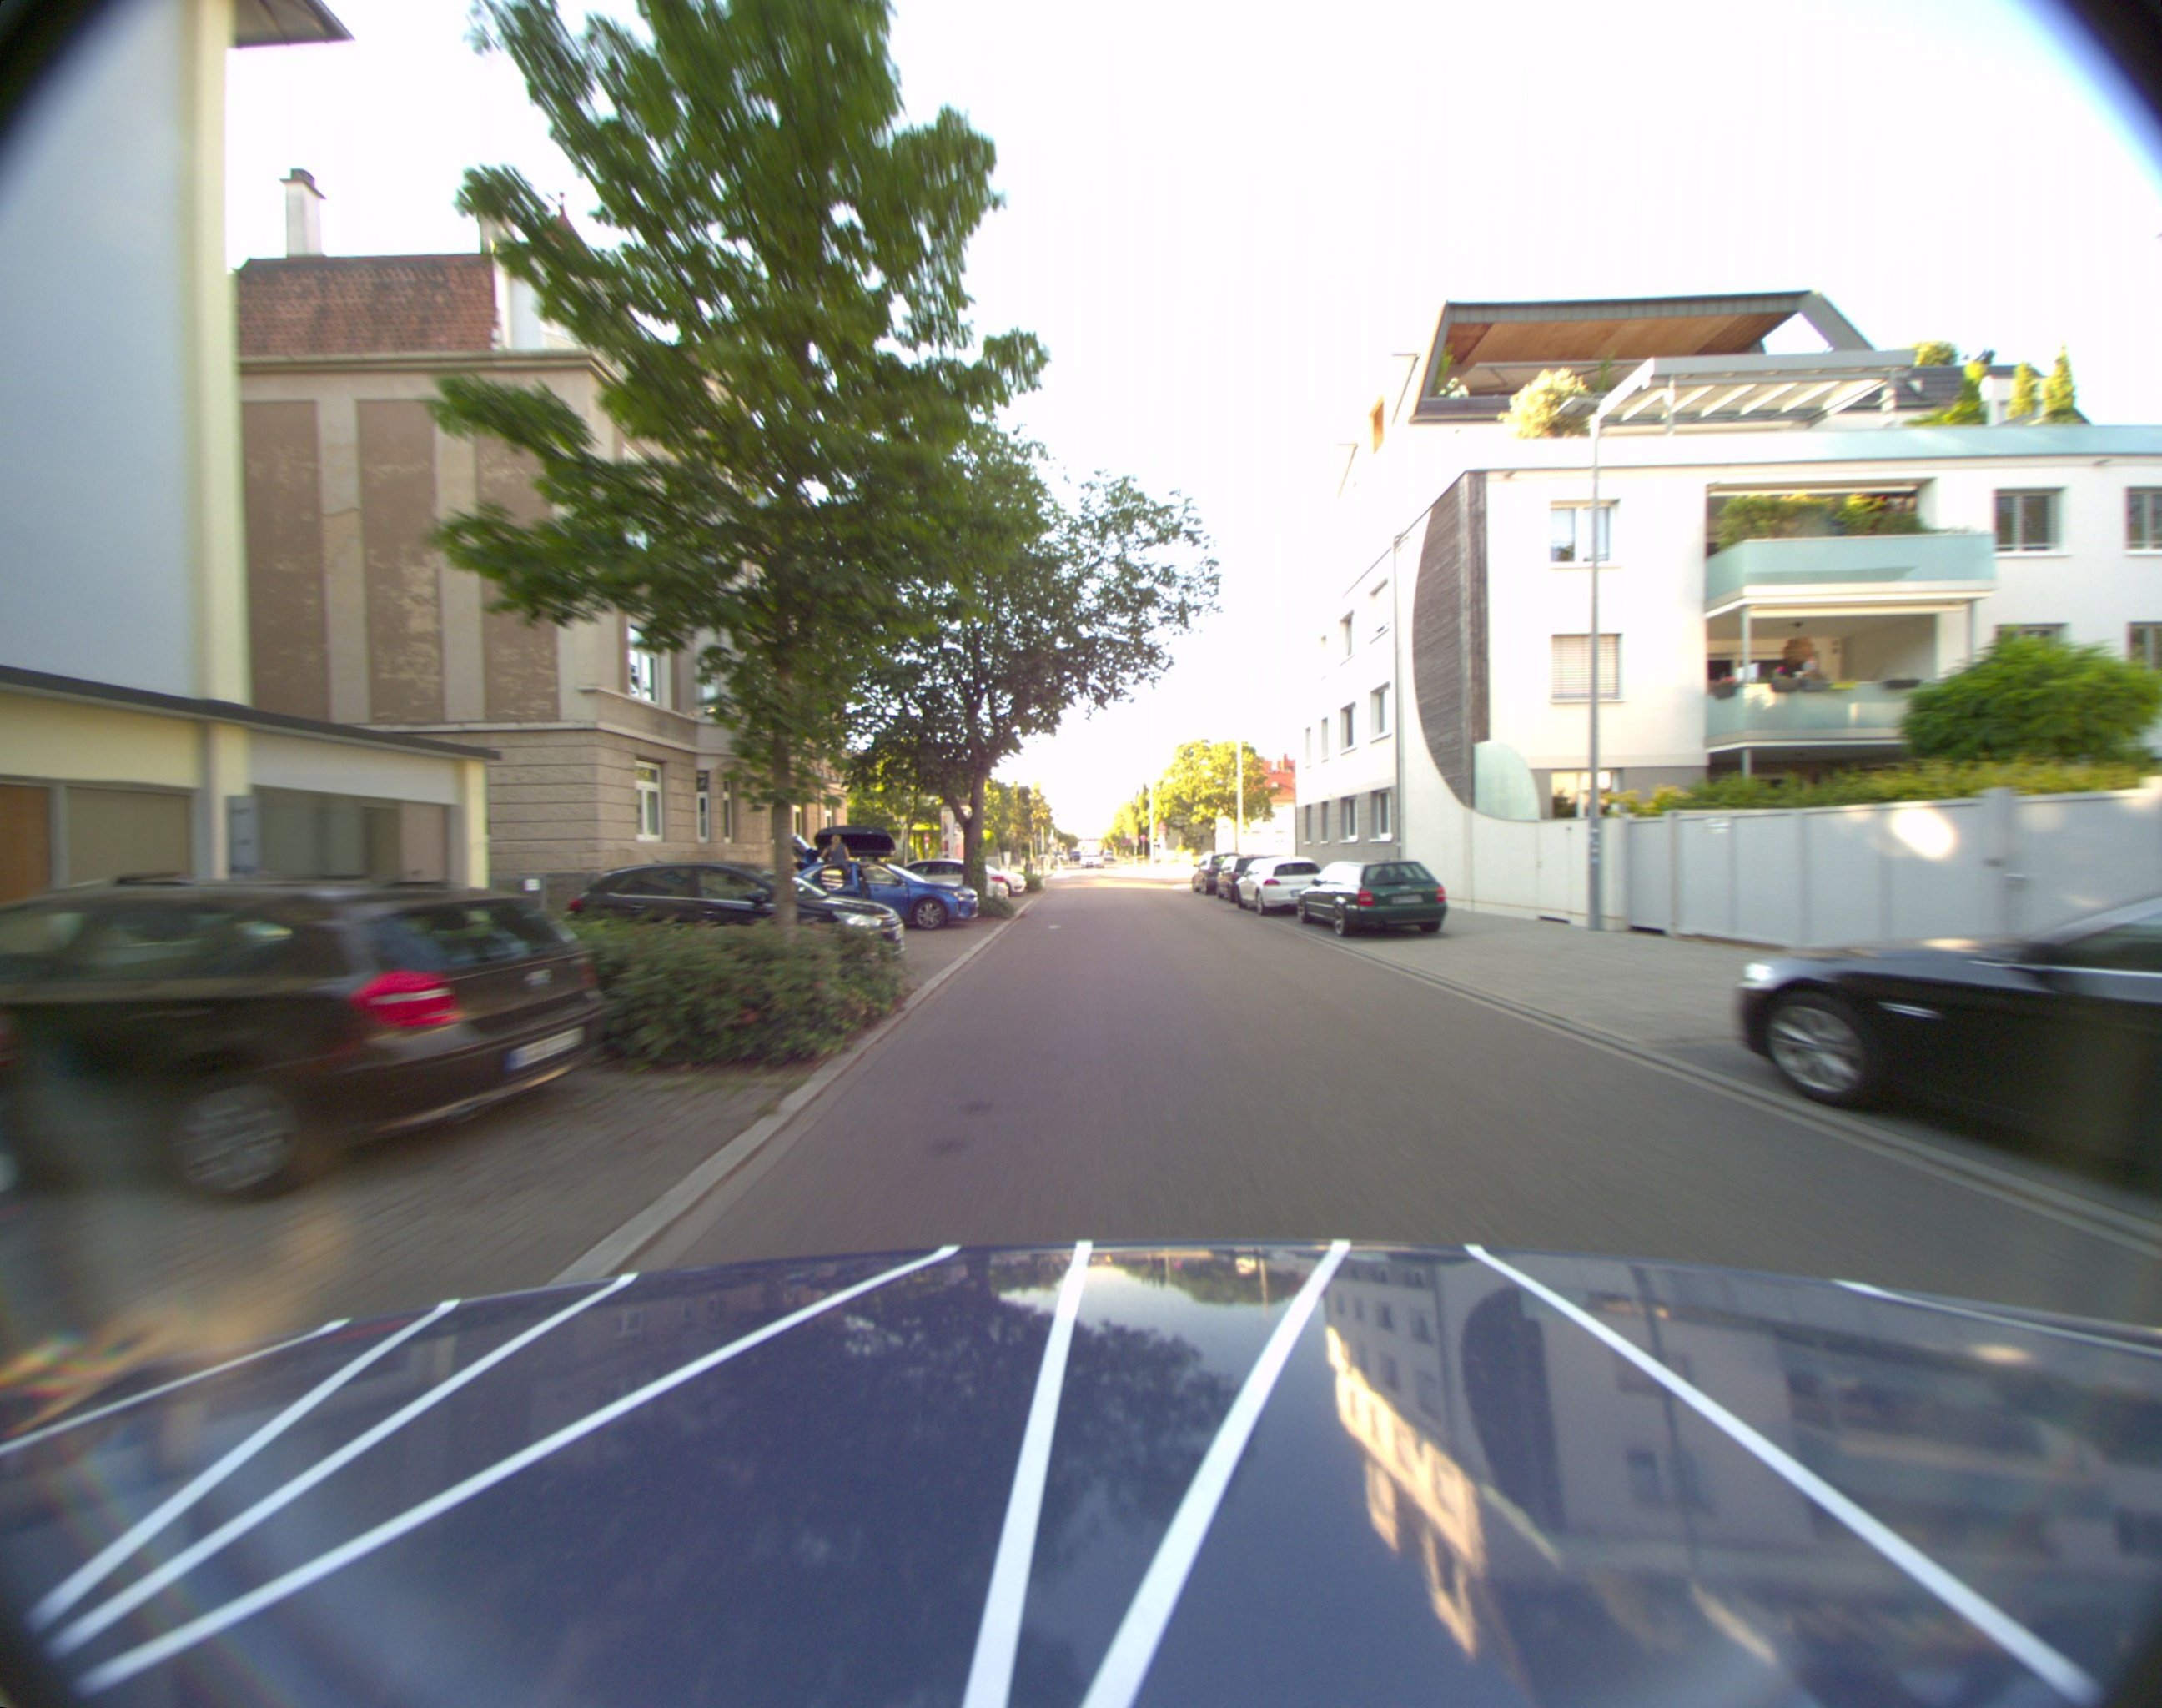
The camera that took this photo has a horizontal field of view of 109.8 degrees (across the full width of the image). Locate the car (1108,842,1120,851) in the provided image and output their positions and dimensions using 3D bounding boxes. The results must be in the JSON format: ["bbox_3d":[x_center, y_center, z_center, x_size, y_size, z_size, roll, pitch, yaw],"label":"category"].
[{"bbox_3d":[6.065,-1.437,138.476,1.970,1.604,4.246,-1,1,0],"label":"car"}]

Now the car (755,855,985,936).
[{"bbox_3d":[-4.511,0.864,16.764,4.538,1.631,1.874,-1,1,0],"label":"car"}]

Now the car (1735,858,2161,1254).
[{"bbox_3d":[5.226,0.826,2.601,1.859,1.489,4.653,-2,1,-2],"label":"car"}]

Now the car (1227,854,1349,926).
[{"bbox_3d":[5.176,0.836,19.556,1.889,1.582,4.089,-1,1,-2],"label":"car"}]

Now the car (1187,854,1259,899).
[{"bbox_3d":[5.470,0.819,29.743,1.889,1.582,4.089,-1,1,-2],"label":"car"}]

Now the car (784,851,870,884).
[{"bbox_3d":[-13.968,0.756,41.941,4.085,1.730,1.812,-1,-1,-2],"label":"car"}]

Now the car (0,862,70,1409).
[{"bbox_3d":[-5.040,0.876,1.551,3.556,1.644,1.725,-1,1,-1],"label":"car"}]

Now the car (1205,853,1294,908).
[{"bbox_3d":[5.417,0.806,25.003,1.889,1.582,4.089,-1,1,-2],"label":"car"}]

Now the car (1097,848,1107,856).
[{"bbox_3d":[4.655,-0.485,170.356,1.970,1.604,4.246,-1,1,0],"label":"car"}]

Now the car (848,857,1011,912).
[{"bbox_3d":[-4.306,0.872,22.226,4.490,1.516,1.953,0,0,-5],"label":"car"}]

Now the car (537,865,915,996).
[{"bbox_3d":[-4.560,0.946,10.269,4.201,1.549,1.874,-1,0,0],"label":"car"}]

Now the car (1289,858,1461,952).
[{"bbox_3d":[5.451,0.866,14.682,1.762,1.439,4.141,-2,1,1],"label":"car"}]

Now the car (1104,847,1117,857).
[{"bbox_3d":[4.822,-0.322,124.917,1.970,1.604,4.246,-1,1,0],"label":"car"}]

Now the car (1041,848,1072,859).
[{"bbox_3d":[-3.784,-0.104,119.815,4.835,1.604,1.971,0,1,-1],"label":"car"}]

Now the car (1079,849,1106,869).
[{"bbox_3d":[1.085,0.460,69.663,1.868,1.685,4.304,-1,-1,8],"label":"car"}]

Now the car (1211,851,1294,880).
[{"bbox_3d":[10.662,0.690,47.459,4.835,1.659,1.788,-1,1,1],"label":"car"}]

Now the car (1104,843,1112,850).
[{"bbox_3d":[7.231,-1.978,201.484,1.970,1.604,4.246,-1,1,0],"label":"car"}]

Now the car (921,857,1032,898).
[{"bbox_3d":[-3.990,0.887,29.598,4.058,1.497,1.861,-1,1,0],"label":"car"}]

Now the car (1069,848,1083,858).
[{"bbox_3d":[-0.817,-0.214,124.218,1.971,1.604,4.245,-1,1,-3],"label":"car"}]

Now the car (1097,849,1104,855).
[{"bbox_3d":[5.518,-0.588,218.180,1.970,1.604,4.246,-1,1,0],"label":"car"}]

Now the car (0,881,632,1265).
[{"bbox_3d":[-4.891,0.962,4.069,3.935,1.549,1.725,-1,0,1],"label":"car"}]
